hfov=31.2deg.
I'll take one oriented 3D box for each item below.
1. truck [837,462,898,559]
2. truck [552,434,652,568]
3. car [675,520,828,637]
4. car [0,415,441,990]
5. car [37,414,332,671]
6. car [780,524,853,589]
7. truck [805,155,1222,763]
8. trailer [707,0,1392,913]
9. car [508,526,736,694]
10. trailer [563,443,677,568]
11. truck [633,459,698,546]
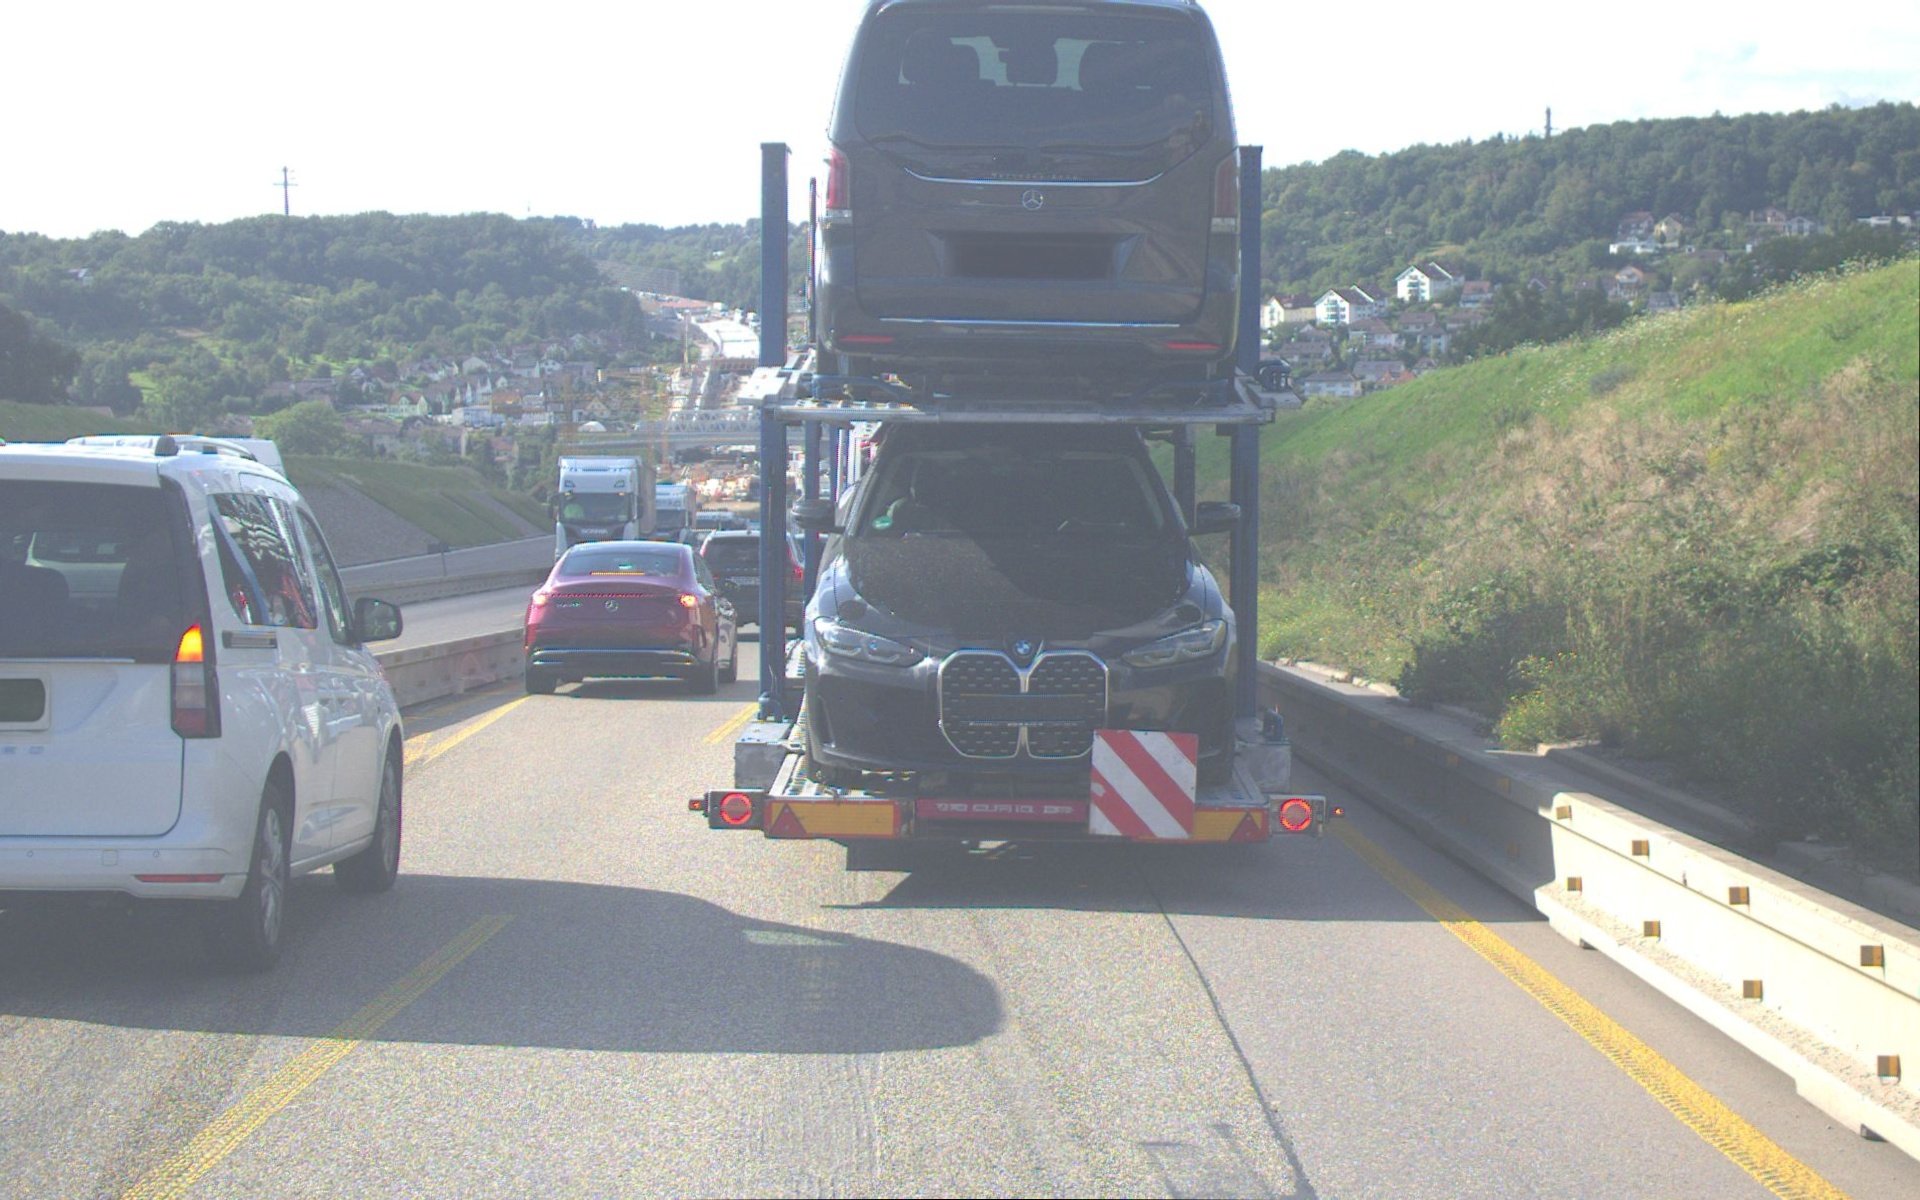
[{"bbox_3d":[-4.477,-4.321,167.253,2.863,4.555,11.659,0,1,-1],"label":"truck"},{"bbox_3d":[-11.292,-3.122,108.915,2.614,4.139,5.782,0,1,-1],"label":"truck"},{"bbox_3d":[-3.093,-0.363,51.867,1.993,1.619,4.750,2,1,0],"label":"car"},{"bbox_3d":[-3.240,0.254,13.154,1.823,1.817,4.456,1,2,0],"label":"car"},{"bbox_3d":[-9.391,-0.704,42.231,2.110,2.826,6.139,-3,1,0],"label":"car"},{"bbox_3d":[-3.622,-1.131,87.265,1.796,1.591,4.743,0,1,-2],"label":"car"},{"bbox_3d":[0.301,-0.973,25.152,2.678,3.908,6.028,0,1,-1],"label":"truck"},{"bbox_3d":[0.332,-0.889,19.342,2.708,4.015,11.420,0,1,0],"label":"trailer"},{"bbox_3d":[-3.272,0.041,34.090,1.823,1.487,4.685,1,2,-1],"label":"car"},{"bbox_3d":[-11.340,-3.148,115.754,2.614,3.940,13.875,0,1,-1],"label":"trailer"},{"bbox_3d":[-14.397,-4.738,168.470,2.638,4.085,10.820,0,1,-2],"label":"truck"}]
